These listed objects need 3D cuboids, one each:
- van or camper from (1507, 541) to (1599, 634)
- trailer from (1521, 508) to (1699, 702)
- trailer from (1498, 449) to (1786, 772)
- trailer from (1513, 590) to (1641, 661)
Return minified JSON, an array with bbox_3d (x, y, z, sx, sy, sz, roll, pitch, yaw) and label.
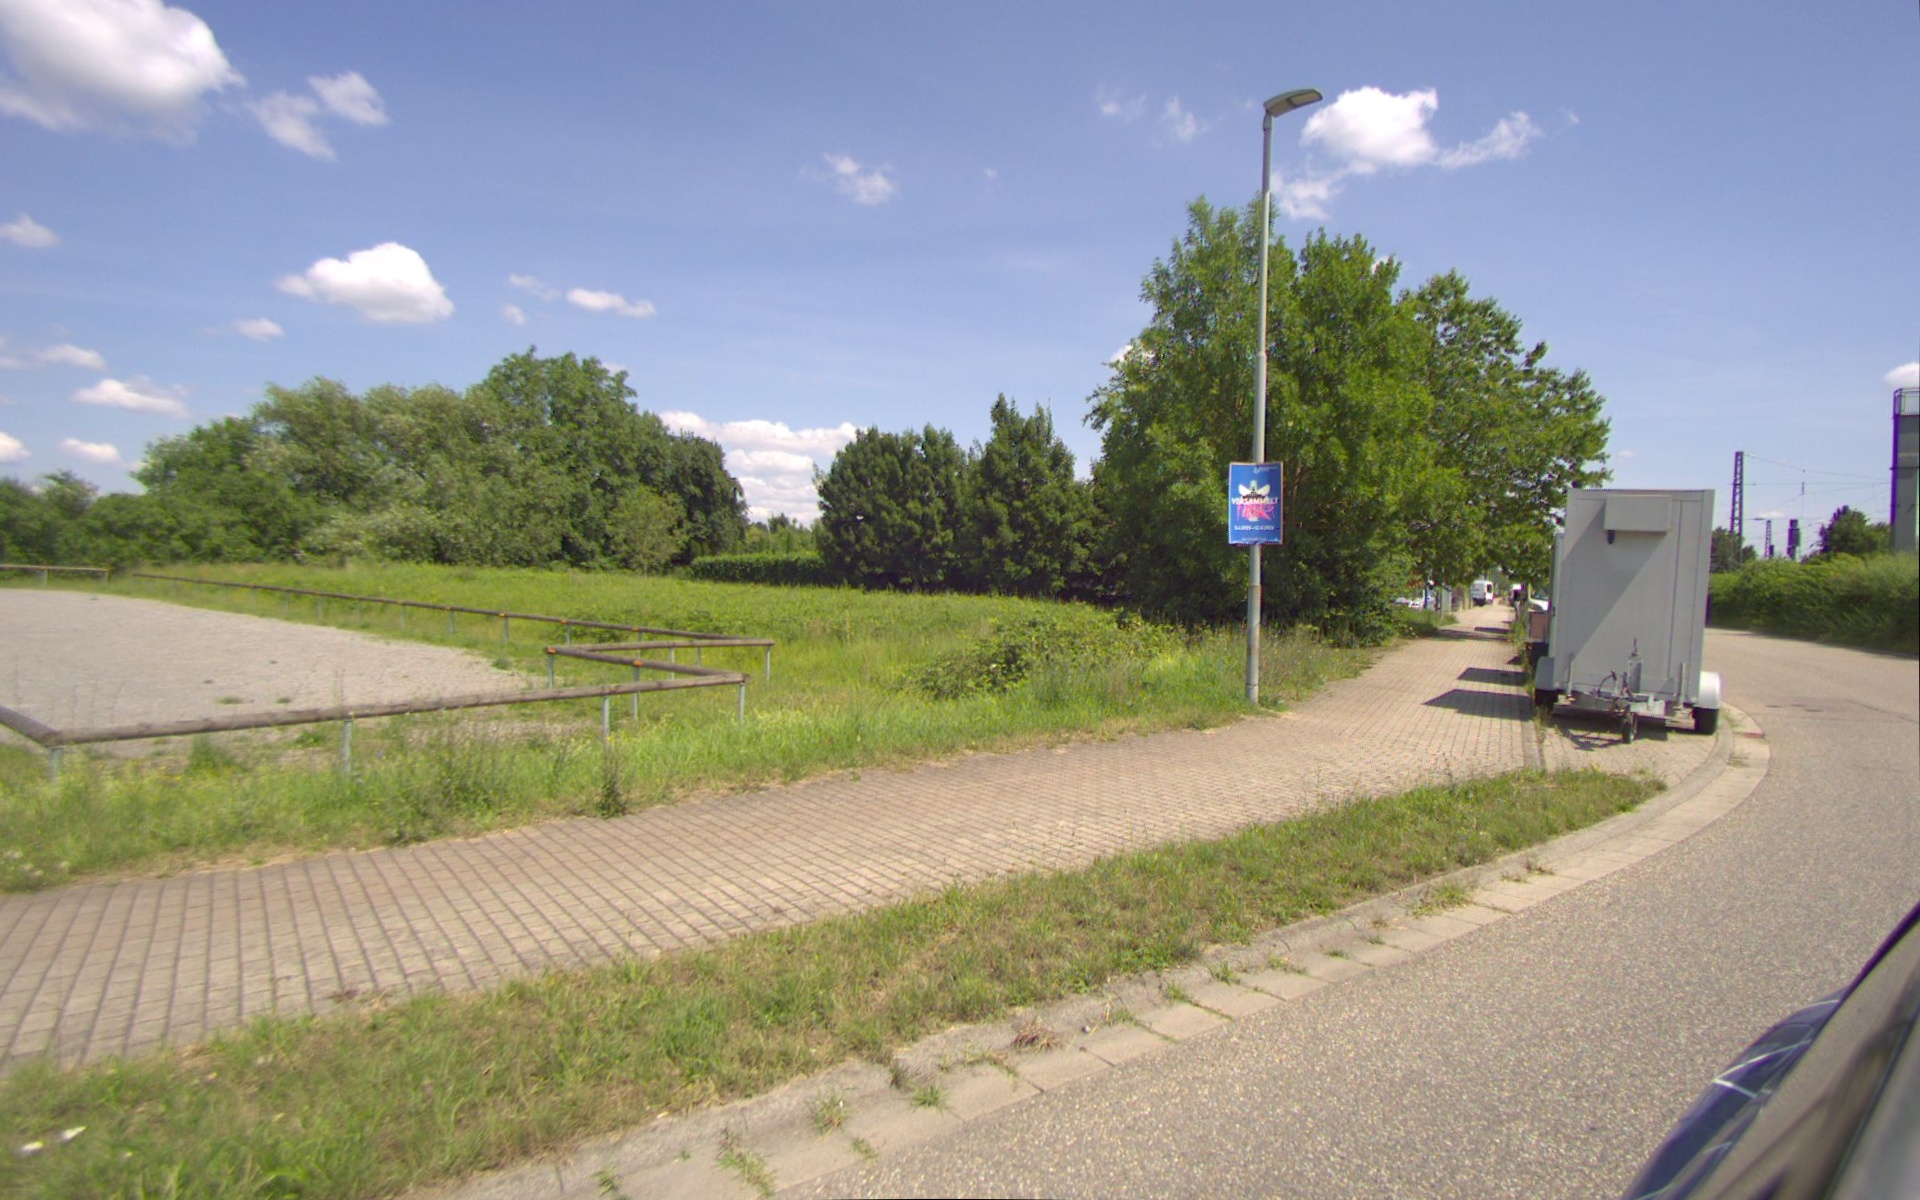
[{"bbox_3d":[20.941,-0.466,35.990,2.426,2.861,7.546,4,2,29],"label":"van or camper"},{"bbox_3d":[10.103,0.006,16.068,1.909,2.538,4.692,5,3,29],"label":"trailer"},{"bbox_3d":[7.385,0.016,11.040,1.928,2.676,5.118,5,3,35],"label":"trailer"},{"bbox_3d":[12.885,0.452,21.174,1.997,1.136,4.438,5,4,32],"label":"trailer"}]
